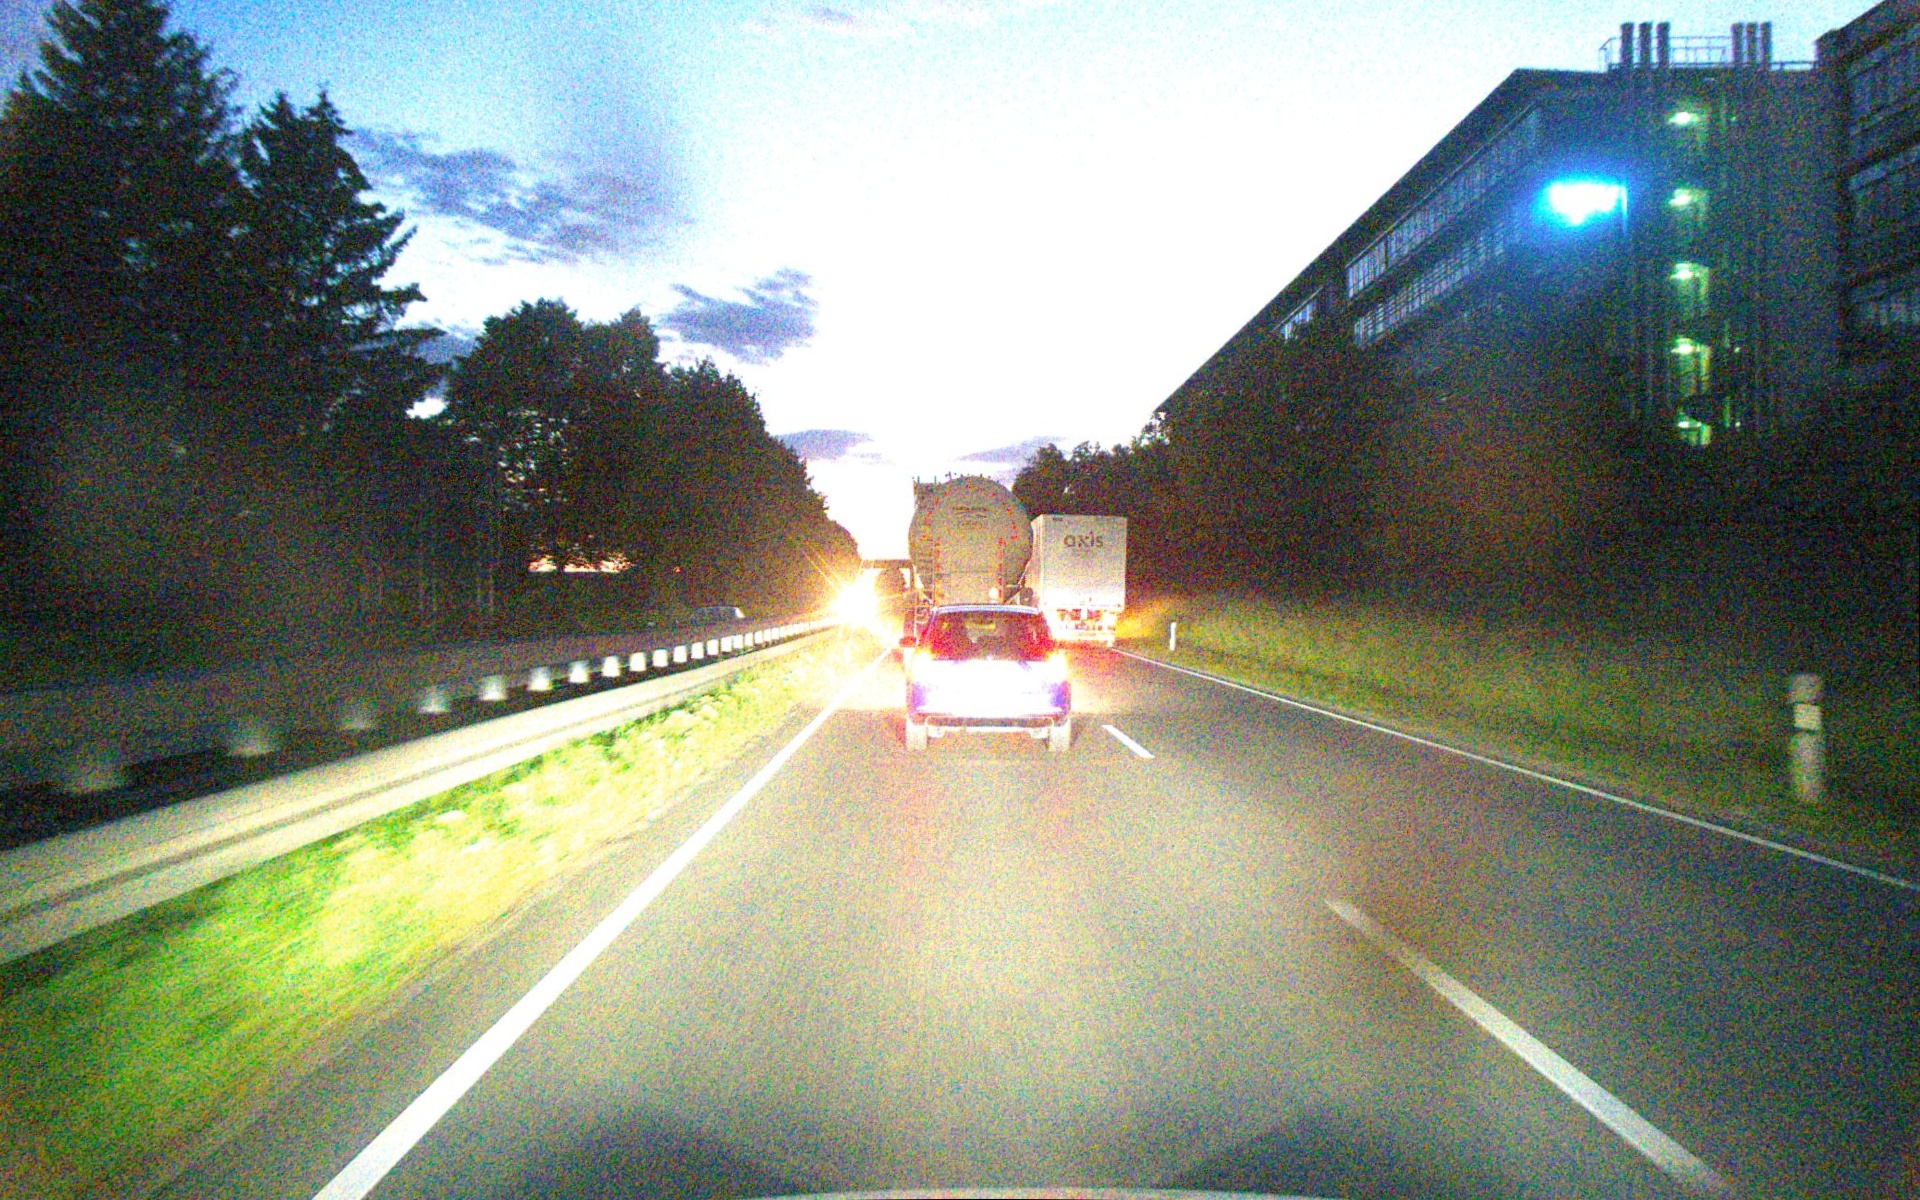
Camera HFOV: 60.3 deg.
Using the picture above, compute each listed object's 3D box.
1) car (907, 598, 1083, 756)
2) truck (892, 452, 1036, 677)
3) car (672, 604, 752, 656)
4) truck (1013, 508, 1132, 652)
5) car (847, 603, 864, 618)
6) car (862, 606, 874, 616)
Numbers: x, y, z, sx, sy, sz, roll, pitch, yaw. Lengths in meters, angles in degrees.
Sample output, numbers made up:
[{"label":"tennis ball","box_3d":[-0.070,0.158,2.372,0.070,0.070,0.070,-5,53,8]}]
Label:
[{"label":"car","box_3d":[0.309,0.746,17.735,1.661,1.478,3.913,1,0,-1]},{"label":"truck","box_3d":[-0.022,-0.623,37.618,2.633,4.178,13.138,1,0,-1]},{"label":"car","box_3d":[-7.160,0.846,48.162,1.685,1.432,4.573,1,0,-1]},{"label":"truck","box_3d":[3.488,-0.537,54.724,2.824,4.178,12.680,1,0,-1]},{"label":"car","box_3d":[-11.702,1.212,185.025,1.648,1.615,4.166,1,0,-1]},{"label":"car","box_3d":[-13.454,1.616,240.950,1.584,1.533,3.868,1,0,-1]}]
